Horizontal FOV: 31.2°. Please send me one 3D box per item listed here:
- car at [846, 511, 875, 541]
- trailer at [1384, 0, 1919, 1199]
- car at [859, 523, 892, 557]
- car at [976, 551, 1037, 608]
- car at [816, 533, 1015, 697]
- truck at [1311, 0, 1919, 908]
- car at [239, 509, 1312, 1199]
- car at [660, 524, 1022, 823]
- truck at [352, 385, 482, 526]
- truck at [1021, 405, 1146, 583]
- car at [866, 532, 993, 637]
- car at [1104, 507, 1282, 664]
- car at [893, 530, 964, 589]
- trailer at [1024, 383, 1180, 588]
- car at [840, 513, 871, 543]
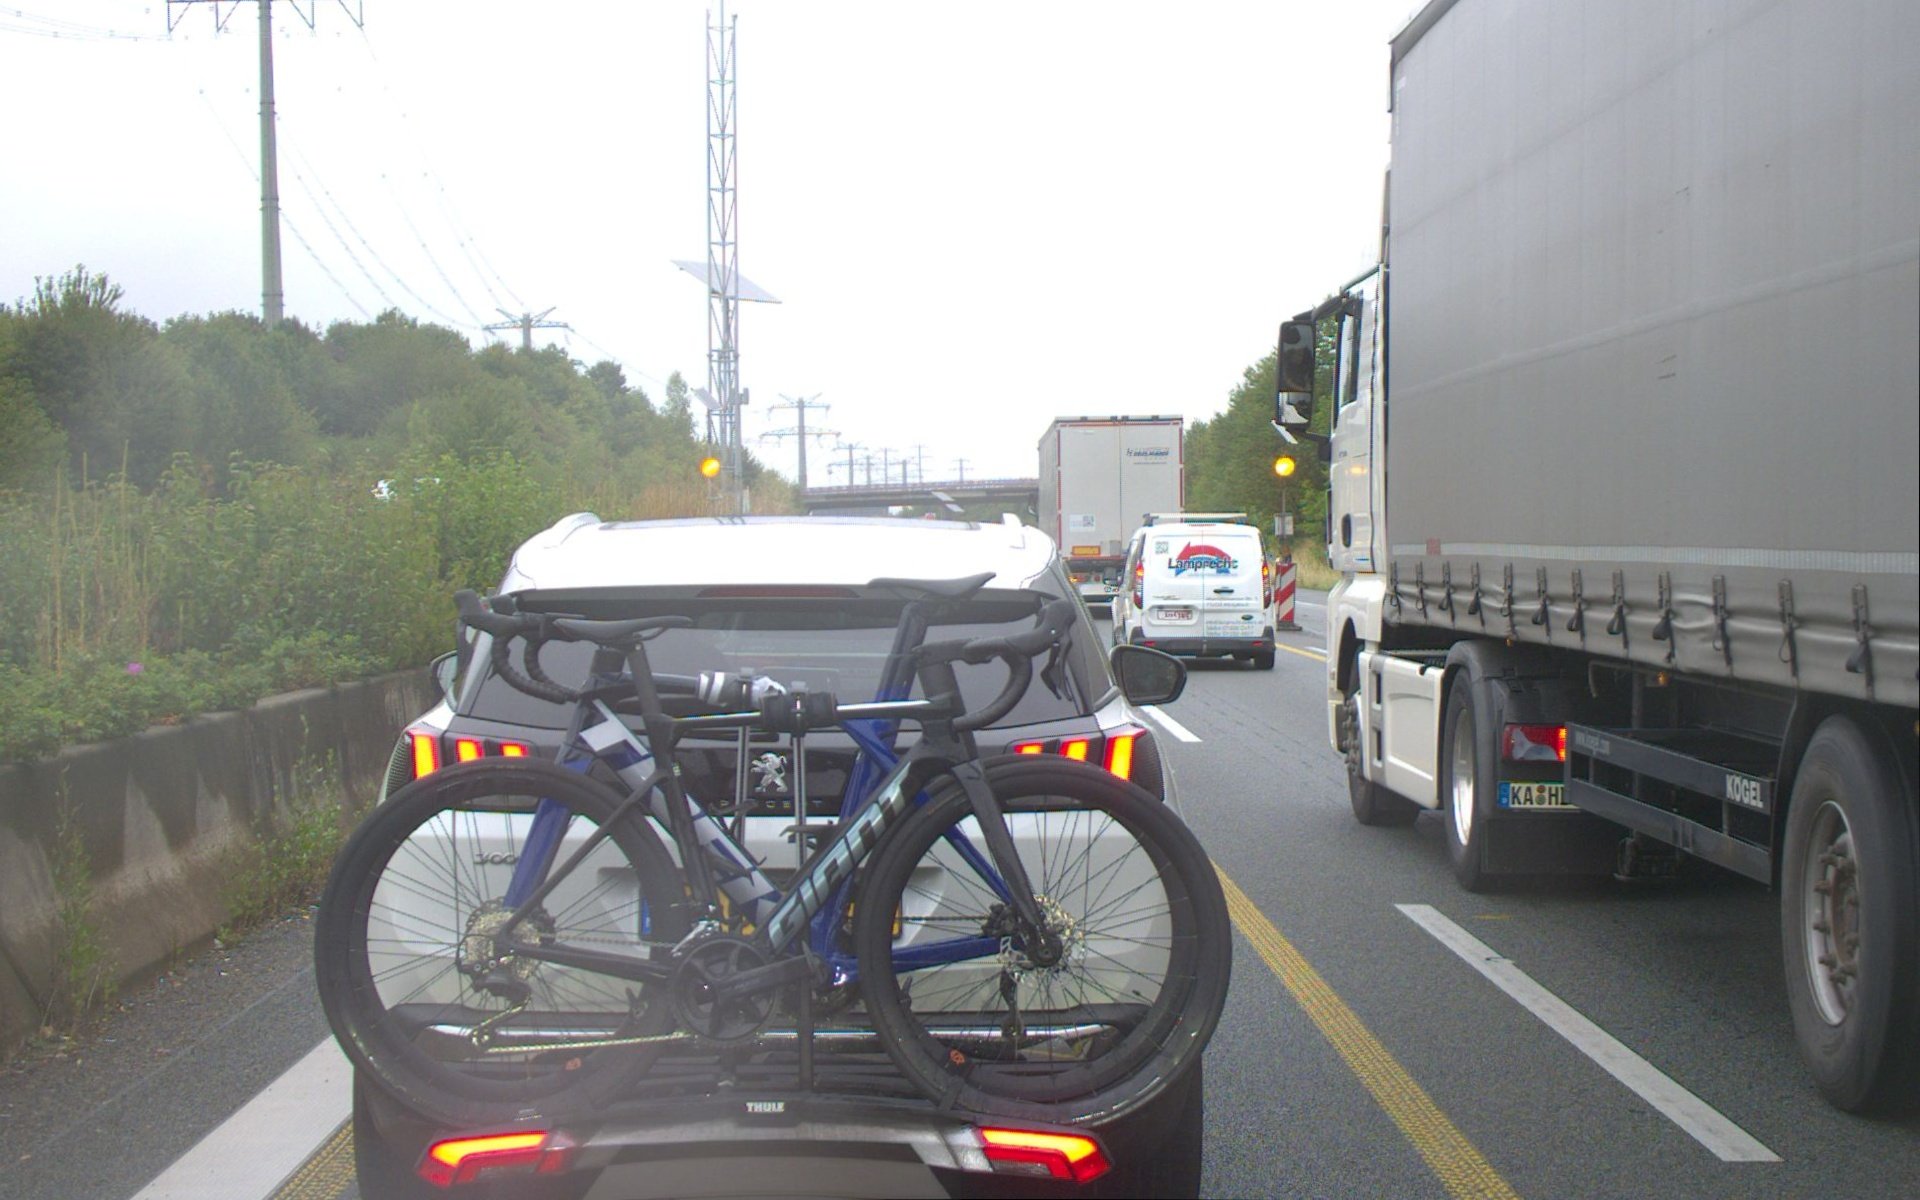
[{"bbox_3d":[-6.859,-5.107,236.396,1.931,1.966,4.001,0,2,-1],"label":"car"},{"bbox_3d":[3.532,-0.732,10.137,2.706,4.132,13.733,0,1,-1],"label":"trailer"},{"bbox_3d":[-5.054,-3.618,205.719,1.931,1.966,4.001,0,2,-1],"label":"car"},{"bbox_3d":[1.687,-0.761,125.110,2.110,1.966,4.001,0,2,-1],"label":"car"},{"bbox_3d":[-0.438,0.104,34.018,1.850,1.525,4.000,0,1,-1],"label":"car"},{"bbox_3d":[3.417,-0.840,17.014,2.706,4.124,5.691,0,1,-1],"label":"truck"},{"bbox_3d":[-0.345,0.564,8.325,1.850,1.525,4.769,0,1,-1],"label":"car"},{"bbox_3d":[-0.634,0.341,19.618,1.850,1.525,4.000,0,1,-1],"label":"car"},{"bbox_3d":[-16.627,-4.383,105.751,2.785,4.010,7.234,-3,1,-1],"label":"truck"},{"bbox_3d":[2.891,-2.491,81.926,2.660,4.062,6.539,0,1,-1],"label":"truck"},{"bbox_3d":[-0.470,-0.262,52.011,1.850,1.525,4.000,0,1,-1],"label":"car"},{"bbox_3d":[2.828,-0.216,42.574,1.829,1.833,4.656,0,1,-1],"label":"car"},{"bbox_3d":[-0.845,-1.088,91.466,1.850,1.525,4.000,0,1,-1],"label":"car"},{"bbox_3d":[2.949,-2.398,75.133,2.692,4.062,13.634,0,1,-1],"label":"trailer"},{"bbox_3d":[-6.787,-4.685,223.590,1.931,1.904,4.001,0,2,-1],"label":"car"}]
